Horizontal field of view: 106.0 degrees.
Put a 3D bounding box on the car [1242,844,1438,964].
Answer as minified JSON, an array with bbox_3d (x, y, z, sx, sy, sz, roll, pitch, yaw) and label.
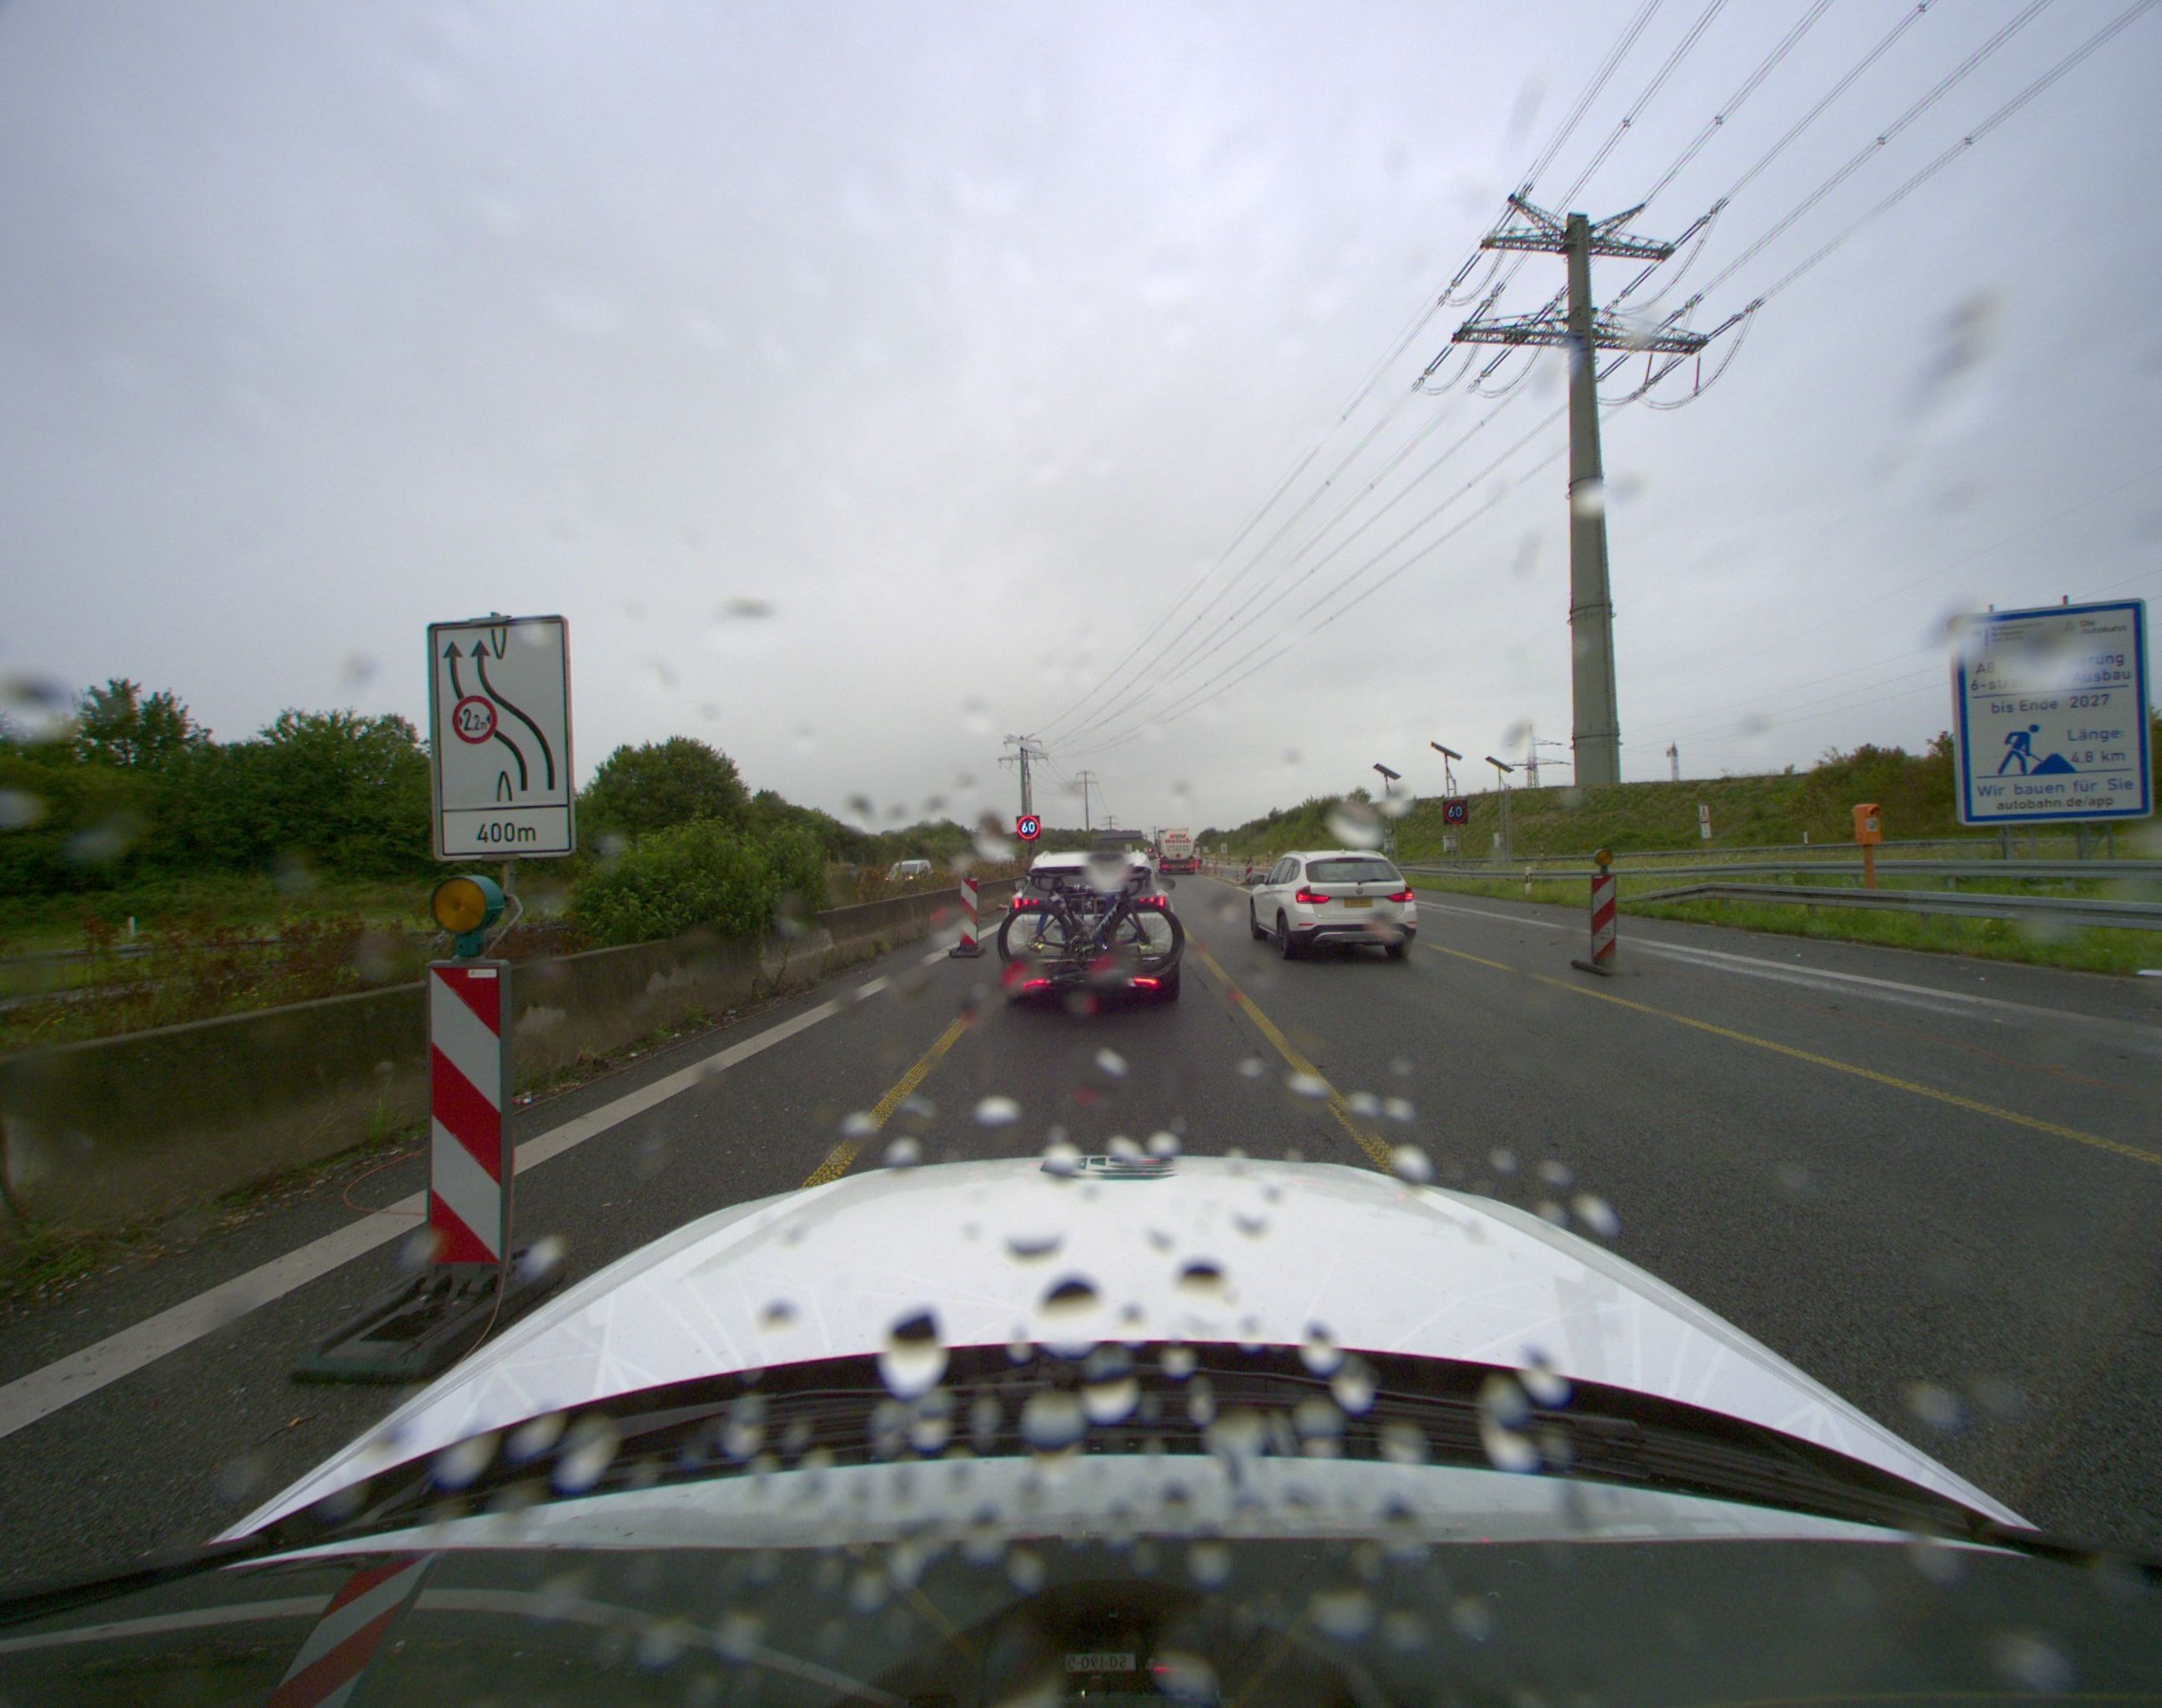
[{"bbox_3d":[3.804,0.660,12.751,1.862,1.535,4.199,-1,0,2],"label":"car"}]

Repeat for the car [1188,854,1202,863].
[{"bbox_3d":[15.642,0.641,111.764,1.477,1.161,3.908,-3,0,2],"label":"car"}]

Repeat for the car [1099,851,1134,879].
[{"bbox_3d":[2.113,0.642,48.596,1.986,1.584,4.002,-1,0,2],"label":"car"}]

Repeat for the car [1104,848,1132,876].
[{"bbox_3d":[2.846,0.602,62.601,1.986,2.013,4.002,-3,0,2],"label":"car"}]

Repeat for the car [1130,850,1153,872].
[{"bbox_3d":[5.849,0.681,79.097,1.986,2.013,4.002,-3,0,2],"label":"car"}]

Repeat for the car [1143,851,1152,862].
[{"bbox_3d":[13.225,0.484,161.727,1.645,2.013,4.007,-1,0,6],"label":"car"}]

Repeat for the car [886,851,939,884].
[{"bbox_3d":[-9.448,0.745,45.923,1.985,1.801,4.003,0,-1,3],"label":"car"}]

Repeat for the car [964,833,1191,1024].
[{"bbox_3d":[0.132,0.643,9.261,1.919,1.611,4.600,-1,0,4],"label":"car"}]

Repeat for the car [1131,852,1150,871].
[{"bbox_3d":[6.714,0.848,91.924,1.986,2.014,4.001,0,-1,2],"label":"car"}]

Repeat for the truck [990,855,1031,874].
[{"bbox_3d":[-10.027,1.438,116.831,1.974,2.428,6.475,-2,0,37],"label":"truck"}]

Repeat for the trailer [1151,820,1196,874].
[{"bbox_3d":[7.107,-0.427,64.074,2.628,3.893,10.547,0,-1,2],"label":"trailer"}]

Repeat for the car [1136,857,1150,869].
[{"bbox_3d":[9.911,1.455,130.542,1.986,2.014,4.001,0,-1,2],"label":"car"}]

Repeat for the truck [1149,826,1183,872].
[{"bbox_3d":[7.314,-0.395,70.605,2.635,3.891,4.031,0,-1,2],"label":"truck"}]

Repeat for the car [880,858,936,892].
[{"bbox_3d":[-9.422,1.107,44.756,1.860,1.649,4.005,-3,0,4],"label":"car"}]
